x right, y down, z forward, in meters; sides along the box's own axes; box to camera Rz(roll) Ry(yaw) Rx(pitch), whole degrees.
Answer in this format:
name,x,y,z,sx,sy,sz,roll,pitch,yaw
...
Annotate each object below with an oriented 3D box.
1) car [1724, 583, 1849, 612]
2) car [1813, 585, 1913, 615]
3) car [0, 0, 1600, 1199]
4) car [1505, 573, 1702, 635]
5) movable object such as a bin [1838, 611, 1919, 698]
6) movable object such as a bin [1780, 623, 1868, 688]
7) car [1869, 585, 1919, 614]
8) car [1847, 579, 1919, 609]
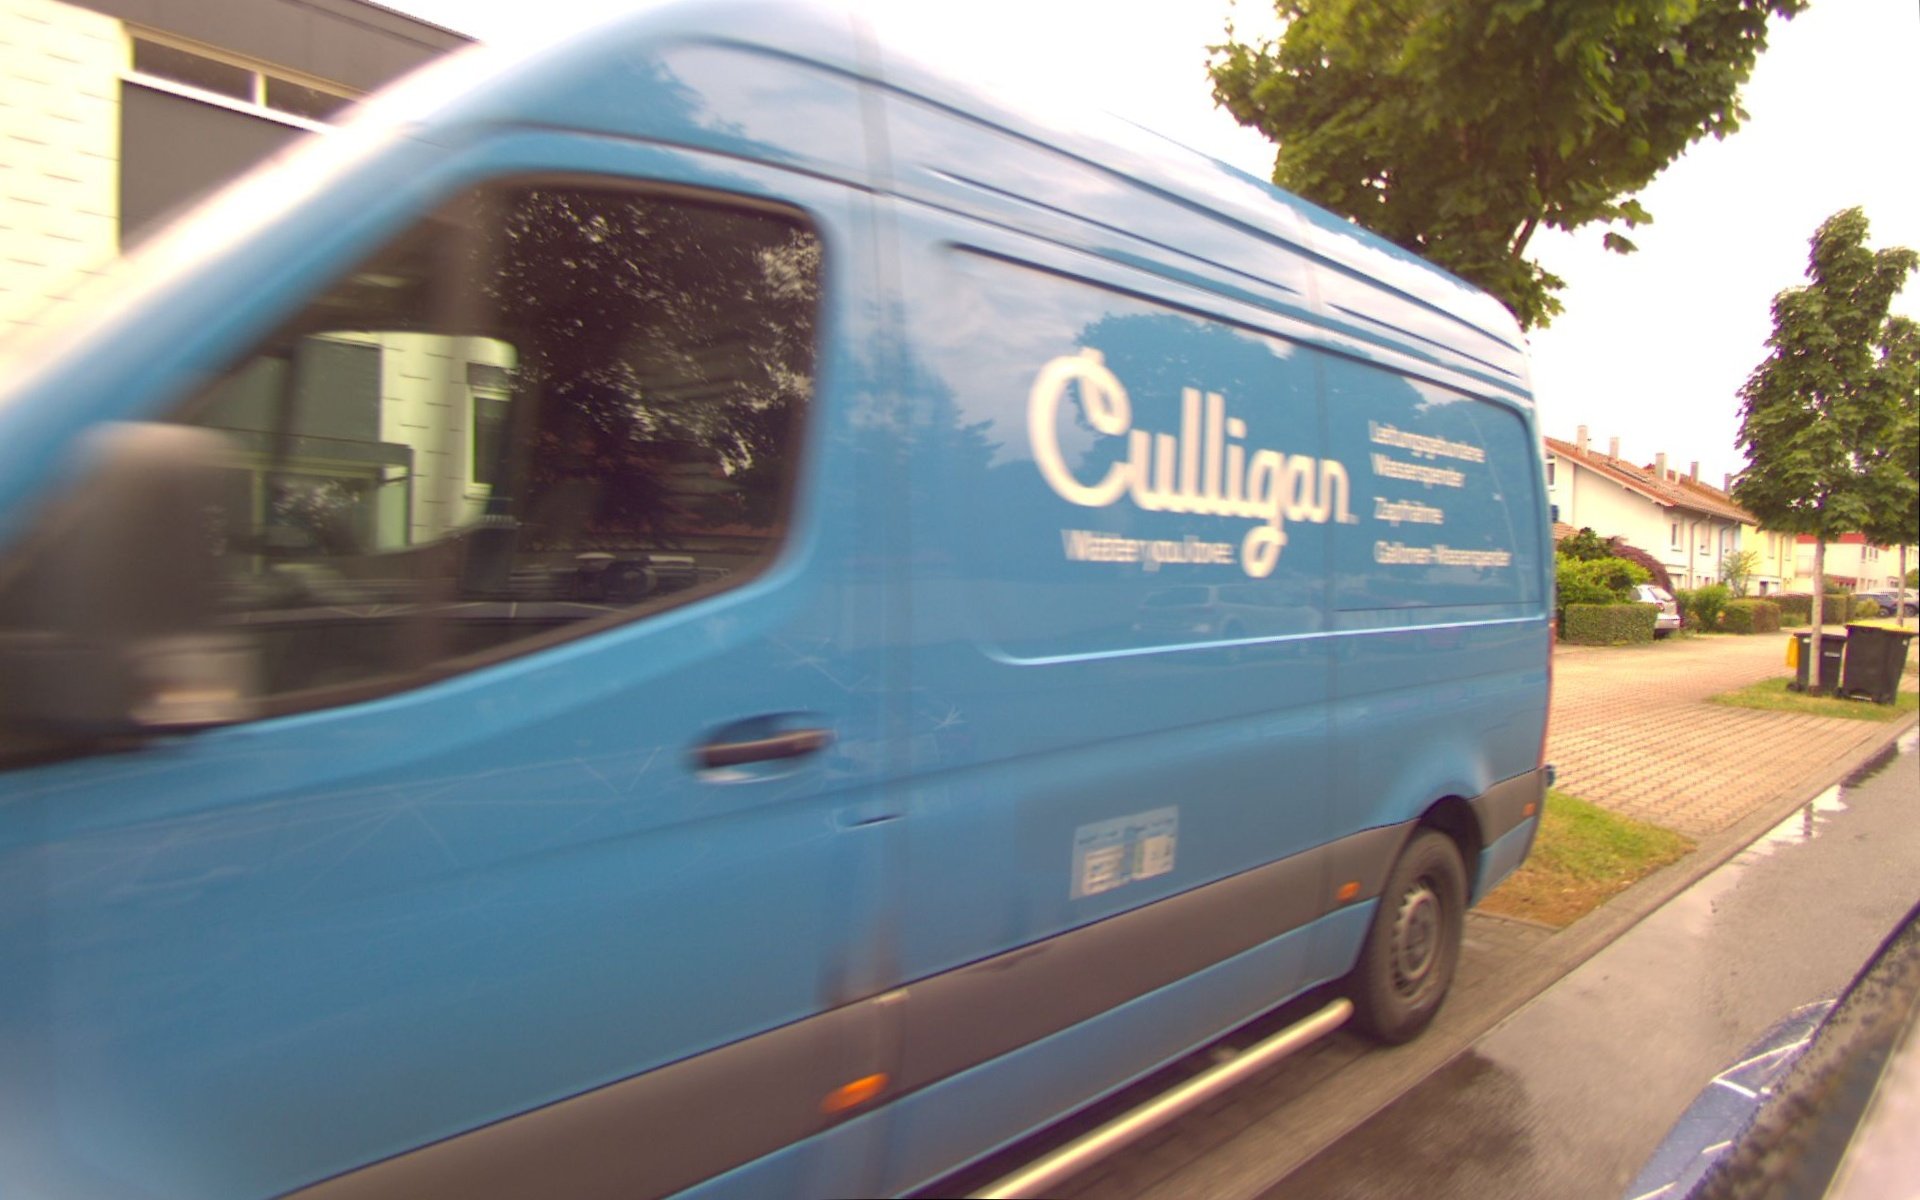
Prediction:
name,x,y,z,sx,sy,sz,roll,pitch,yaw
car,37.614,-0.102,46.193,4.290,1.276,1.657,0,0,36
car,49.963,0.007,56.031,1.647,1.406,3.987,4,-5,-44
car,-0.285,-0.018,2.846,5.536,2.618,1.997,0,3,-42
car,16.799,0.044,26.559,1.815,1.460,3.996,-1,2,-40
movable object such as a bin,11.904,0.692,13.030,0.550,1.026,0.618,1,5,-16
movable object such as a bin,11.994,0.760,14.057,0.588,0.810,0.663,1,4,-16
car,59.004,-0.039,62.350,1.956,1.692,4.190,-1,2,-39
car,55.442,-0.362,60.058,4.176,1.693,1.696,-1,0,42
